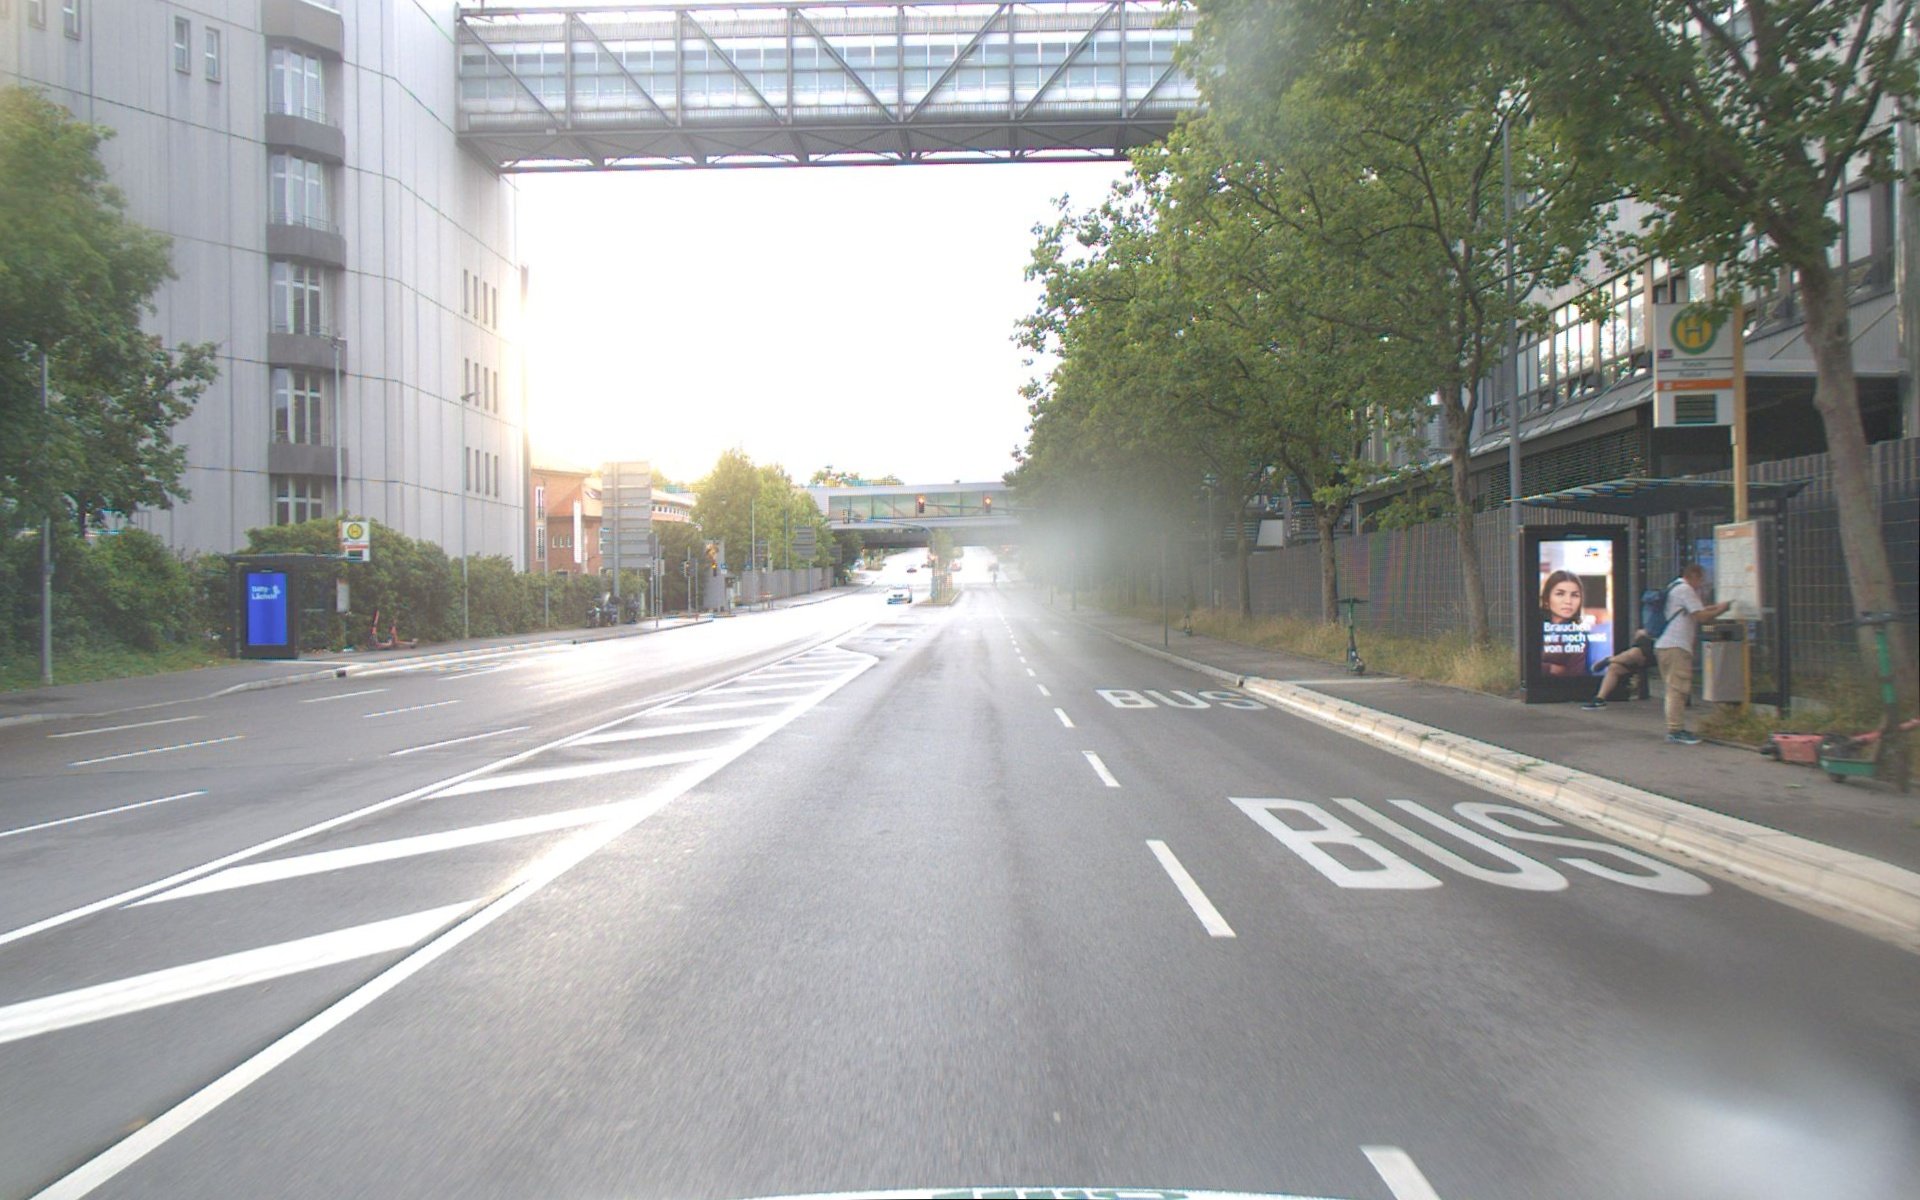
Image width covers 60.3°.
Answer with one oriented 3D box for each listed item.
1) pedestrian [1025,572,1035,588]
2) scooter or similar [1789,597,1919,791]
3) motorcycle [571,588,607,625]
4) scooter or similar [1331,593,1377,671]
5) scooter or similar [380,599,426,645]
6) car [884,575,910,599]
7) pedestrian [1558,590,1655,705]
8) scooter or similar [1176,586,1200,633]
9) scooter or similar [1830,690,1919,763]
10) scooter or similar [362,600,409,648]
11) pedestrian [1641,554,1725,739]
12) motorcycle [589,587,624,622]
[{"bbox_3d":[8.963,-2.567,211.623,1.034,2.049,1.152,-1,0,11],"label":"pedestrian"},{"bbox_3d":[6.663,0.647,12.090,0.492,1.315,1.434,-1,0,1],"label":"scooter or similar"},{"bbox_3d":[-16.040,0.257,71.598,0.895,1.559,3.299,-1,0,-2],"label":"motorcycle"},{"bbox_3d":[6.689,0.529,28.141,0.684,1.266,1.923,-1,0,12],"label":"scooter or similar"},{"bbox_3d":[-16.039,0.631,47.664,0.487,1.274,1.922,-1,0,5],"label":"scooter or similar"},{"bbox_3d":[-4.806,-0.997,125.896,1.954,1.803,3.998,-1,0,-3],"label":"car"},{"bbox_3d":[7.764,0.561,19.896,0.930,1.340,0.686,-1,0,7],"label":"pedestrian"},{"bbox_3d":[6.905,0.270,50.140,0.596,1.390,1.922,-1,0,5],"label":"scooter or similar"},{"bbox_3d":[7.934,1.014,13.326,1.528,0.528,0.644,-1,0,17],"label":"scooter or similar"},{"bbox_3d":[-15.855,0.641,45.657,0.513,1.274,1.800,-1,0,5],"label":"scooter or similar"},{"bbox_3d":[6.802,0.424,15.583,0.471,1.696,0.662,-1,0,-2],"label":"pedestrian"},{"bbox_3d":[-16.067,0.188,75.284,0.939,1.583,3.299,-1,0,-2],"label":"motorcycle"}]
